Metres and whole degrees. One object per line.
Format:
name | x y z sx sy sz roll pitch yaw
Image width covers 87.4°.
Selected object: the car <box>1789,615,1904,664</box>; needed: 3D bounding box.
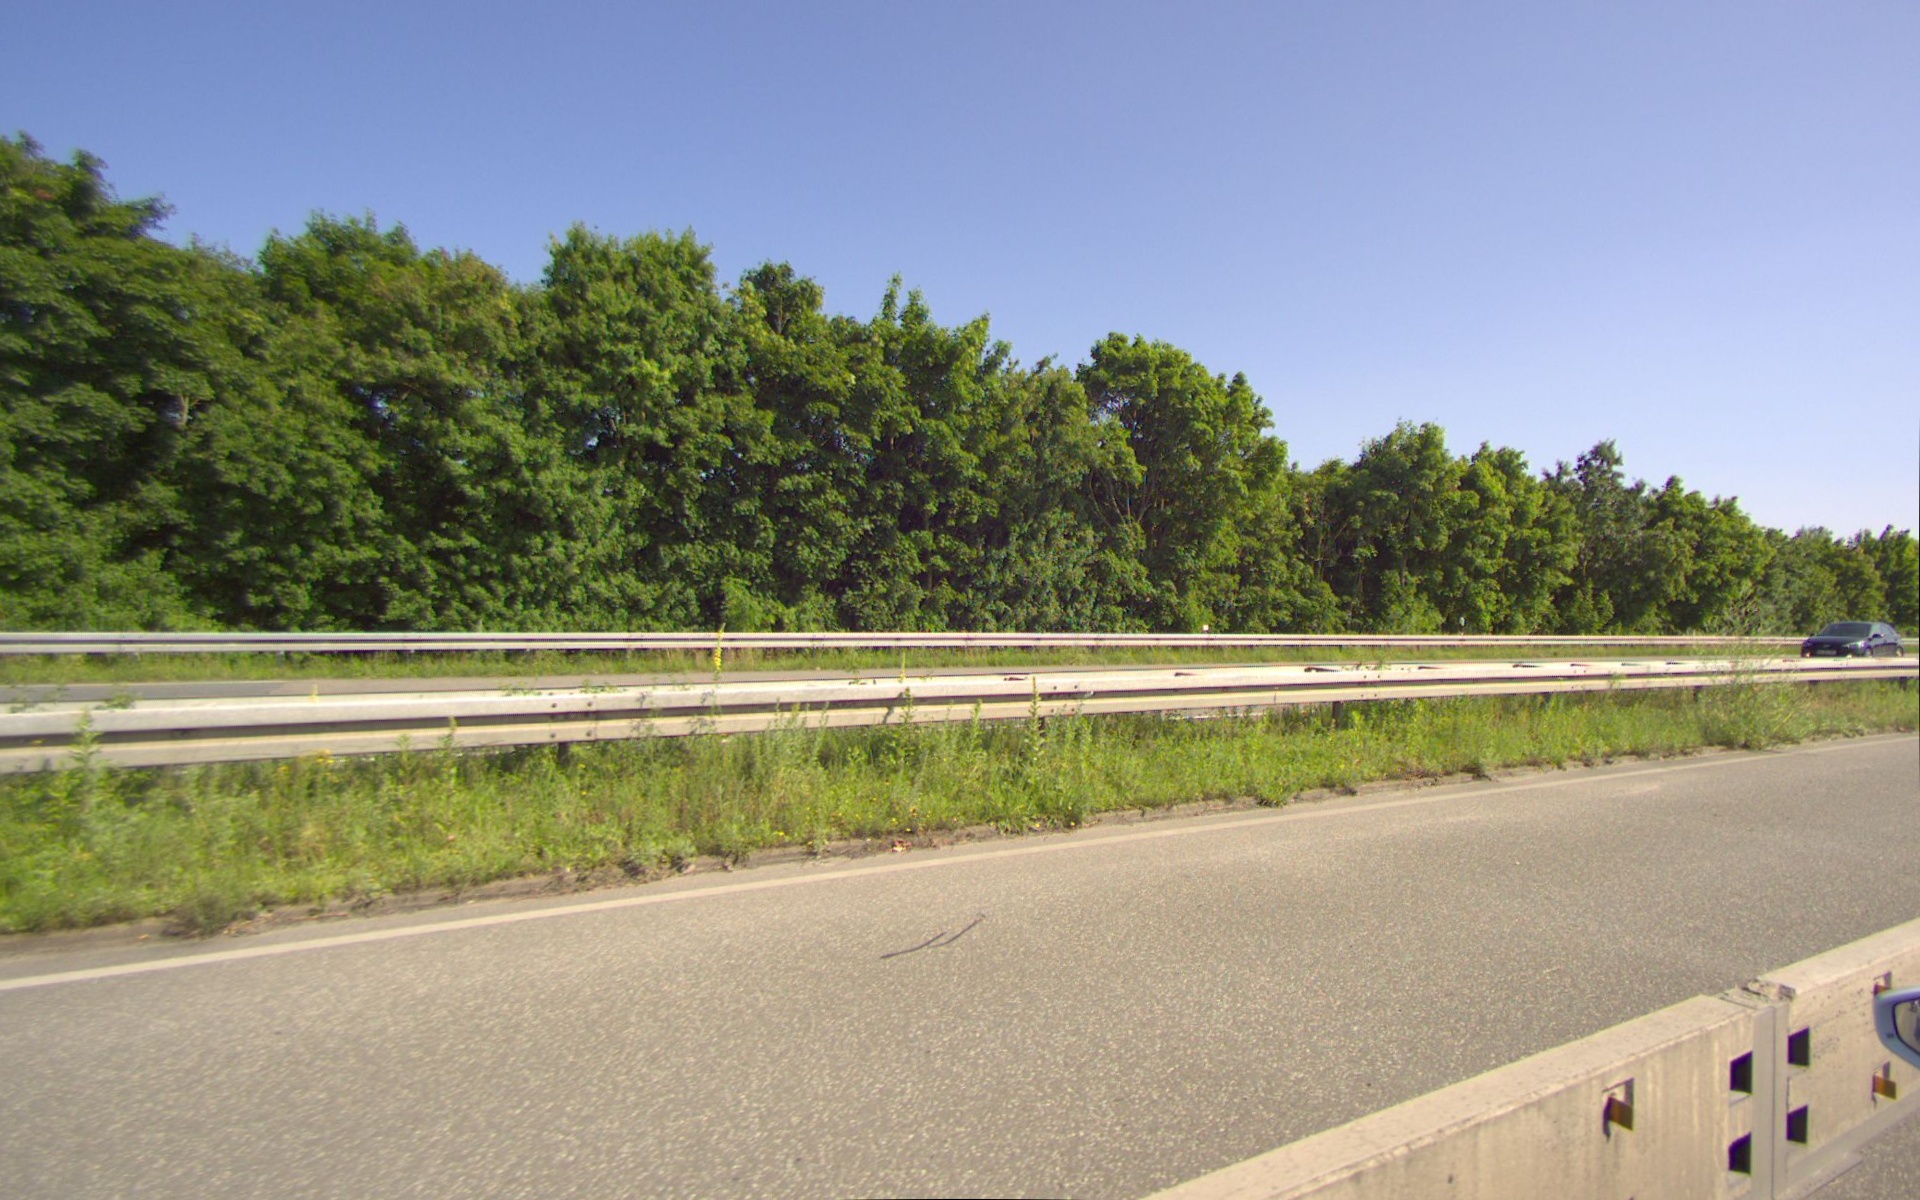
car | 29.887 1.305 33.838 4.062 1.514 1.730 1 0 -31
